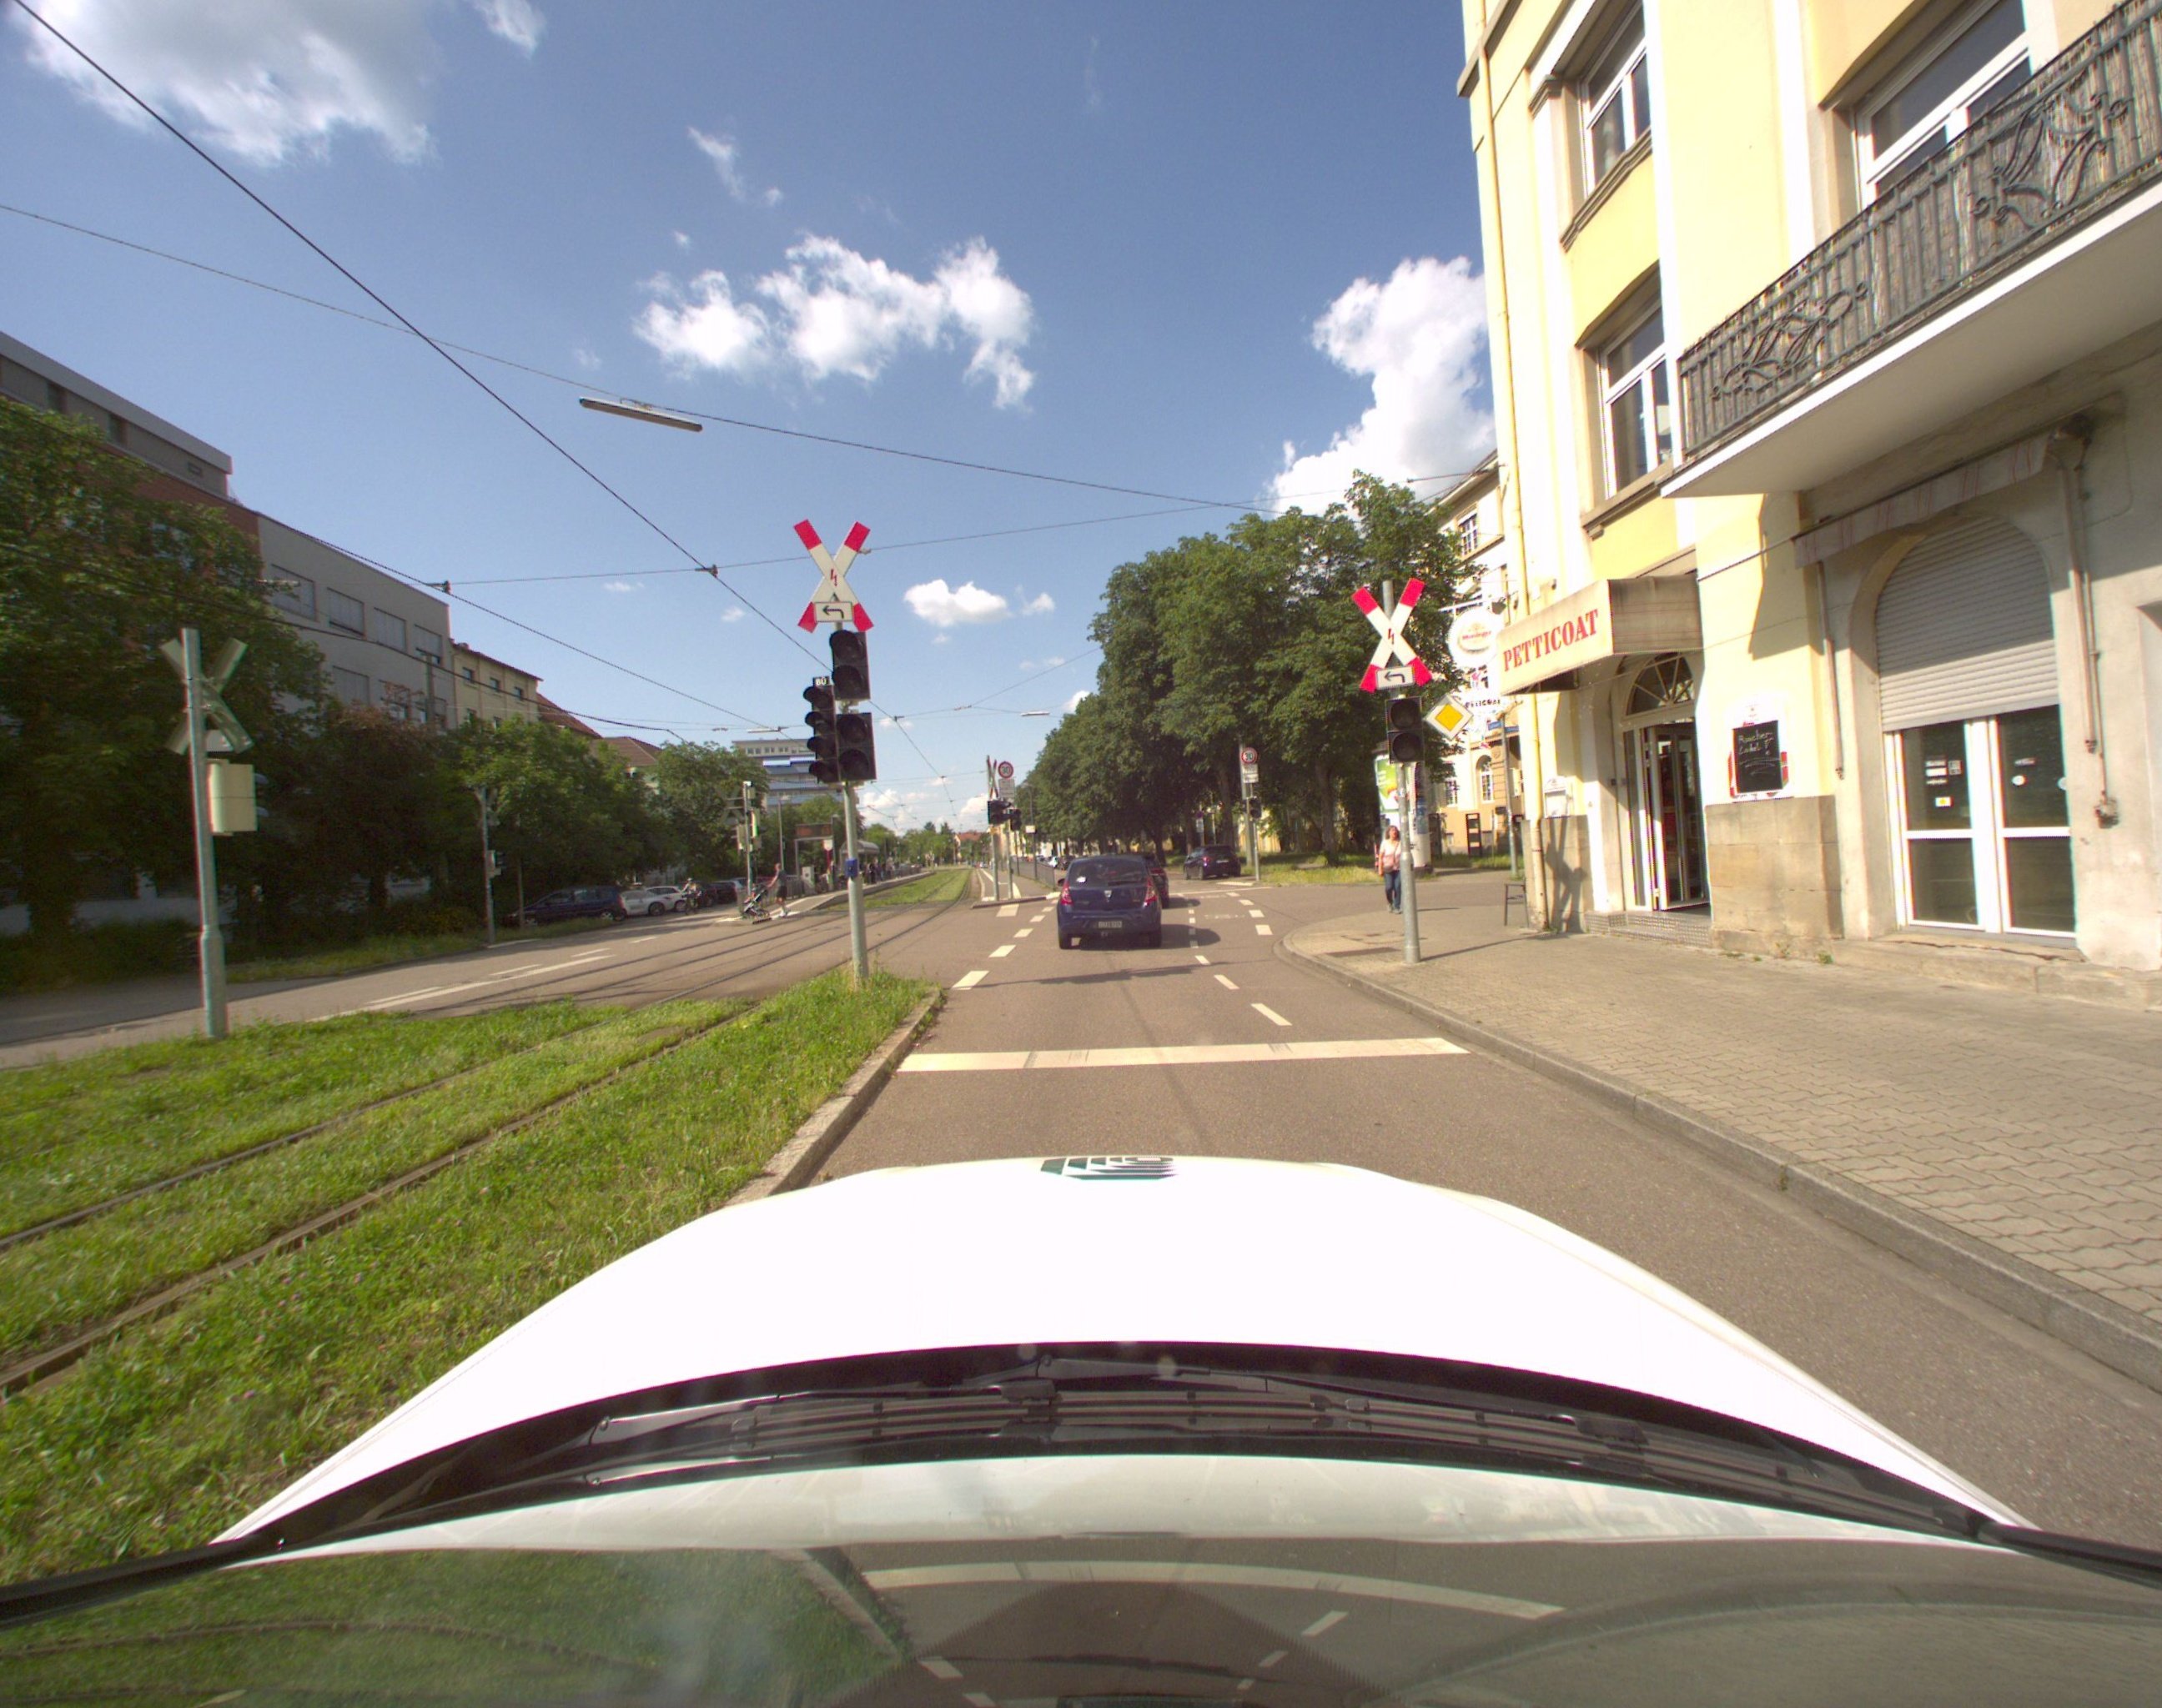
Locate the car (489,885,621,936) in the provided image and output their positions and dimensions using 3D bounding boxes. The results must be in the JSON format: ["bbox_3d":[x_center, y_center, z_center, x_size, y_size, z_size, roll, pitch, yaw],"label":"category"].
[{"bbox_3d":[-21.358,2.266,33.185,1.704,1.640,4.158,-4,0,44],"label":"car"}]

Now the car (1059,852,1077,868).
[{"bbox_3d":[-1.456,0.627,90.233,1.823,1.537,3.997,-5,0,-2],"label":"car"}]

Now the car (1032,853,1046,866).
[{"bbox_3d":[-6.038,0.754,117.304,1.825,1.761,3.997,-4,0,-2],"label":"car"}]

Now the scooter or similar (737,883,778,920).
[{"bbox_3d":[-10.425,1.526,26.263,0.954,1.064,0.795,-6,0,-8],"label":"scooter or similar"}]

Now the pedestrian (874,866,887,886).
[{"bbox_3d":[-14.792,1.612,60.151,0.648,1.426,0.566,-5,0,30],"label":"pedestrian"}]

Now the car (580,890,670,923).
[{"bbox_3d":[-21.724,2.501,38.891,1.525,1.236,3.410,-4,0,44],"label":"car"}]

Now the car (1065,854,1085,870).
[{"bbox_3d":[-0.637,0.802,84.545,1.856,1.445,3.997,-5,-1,-2],"label":"car"}]

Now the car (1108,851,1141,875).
[{"bbox_3d":[2.939,0.603,55.602,1.856,1.445,3.997,-6,0,-2],"label":"car"}]

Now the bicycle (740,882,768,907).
[{"bbox_3d":[-18.928,2.362,47.239,1.156,1.177,1.780,-5,4,-14],"label":"bicycle"}]

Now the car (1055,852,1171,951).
[{"bbox_3d":[0.571,0.739,14.625,1.761,1.462,3.777,-2,0,2],"label":"car"}]

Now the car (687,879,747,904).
[{"bbox_3d":[-23.881,2.440,53.537,1.437,1.309,3.268,-4,0,35],"label":"car"}]

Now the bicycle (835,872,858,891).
[{"bbox_3d":[-13.739,1.618,47.778,0.683,0.974,1.772,-6,0,3],"label":"bicycle"}]

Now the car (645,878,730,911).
[{"bbox_3d":[-22.890,2.335,47.439,1.669,1.456,4.025,-5,0,43],"label":"car"}]

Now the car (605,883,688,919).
[{"bbox_3d":[-22.350,2.389,41.924,3.409,1.505,1.525,-4,0,-45],"label":"car"}]

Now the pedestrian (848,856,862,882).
[{"bbox_3d":[-15.130,0.994,54.599,0.654,1.692,0.655,-5,0,-7],"label":"pedestrian"}]

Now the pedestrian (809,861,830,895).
[{"bbox_3d":[-13.750,1.262,42.811,0.705,1.726,0.672,-4,0,35],"label":"pedestrian"}]

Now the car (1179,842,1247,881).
[{"bbox_3d":[5.632,0.311,35.214,1.764,1.433,3.893,-5,0,-8],"label":"car"}]

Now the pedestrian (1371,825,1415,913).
[{"bbox_3d":[6.092,0.287,15.901,0.666,1.648,0.767,-5,-1,21],"label":"pedestrian"}]

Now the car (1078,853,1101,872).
[{"bbox_3d":[0.718,0.725,72.294,1.847,1.515,3.997,-4,0,-2],"label":"car"}]

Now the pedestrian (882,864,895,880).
[{"bbox_3d":[-18.771,1.739,79.341,1.033,1.437,0.698,-6,1,-22],"label":"pedestrian"}]

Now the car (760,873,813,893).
[{"bbox_3d":[-26.154,2.551,72.358,1.694,1.367,4.026,-5,0,42],"label":"car"}]

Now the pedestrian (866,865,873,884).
[{"bbox_3d":[-17.160,1.649,66.060,0.489,1.452,0.461,-5,0,-17],"label":"pedestrian"}]

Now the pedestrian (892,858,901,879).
[{"bbox_3d":[-17.822,1.422,78.577,0.661,2.013,0.800,-4,0,-12],"label":"pedestrian"}]

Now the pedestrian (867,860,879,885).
[{"bbox_3d":[-15.218,1.379,59.616,0.602,1.766,0.639,-4,0,2],"label":"pedestrian"}]

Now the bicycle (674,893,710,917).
[{"bbox_3d":[-18.203,2.378,38.188,0.679,0.971,2.176,-5,0,-3],"label":"bicycle"}]

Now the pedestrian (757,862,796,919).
[{"bbox_3d":[-9.917,1.169,26.580,0.870,1.775,1.001,-4,0,-8],"label":"pedestrian"}]

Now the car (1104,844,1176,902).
[{"bbox_3d":[1.519,0.452,22.091,1.694,1.368,3.515,-2,1,1],"label":"car"}]

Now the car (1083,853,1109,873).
[{"bbox_3d":[1.226,0.727,67.572,1.856,1.445,3.997,-6,0,-2],"label":"car"}]

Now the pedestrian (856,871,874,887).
[{"bbox_3d":[-14.843,1.718,55.977,0.923,0.989,0.796,-5,-2,-5],"label":"pedestrian"}]

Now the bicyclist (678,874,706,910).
[{"bbox_3d":[-18.262,1.792,38.244,0.783,1.581,0.862,-5,0,-4],"label":"bicyclist"}]

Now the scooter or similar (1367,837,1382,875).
[{"bbox_3d":[9.677,0.060,26.866,0.303,1.189,1.167,-4,0,16],"label":"scooter or similar"}]

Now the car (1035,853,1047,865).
[{"bbox_3d":[-6.026,0.749,123.425,1.664,1.771,3.995,-4,0,-3],"label":"car"}]

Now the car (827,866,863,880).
[{"bbox_3d":[-29.706,2.439,102.519,4.022,1.447,1.707,-4,0,-42],"label":"car"}]

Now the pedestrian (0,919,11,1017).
[{"bbox_3d":[-18.776,1.971,13.668,0.555,1.657,0.747,-4,-1,1],"label":"pedestrian"}]

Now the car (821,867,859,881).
[{"bbox_3d":[-28.825,2.414,97.426,1.618,1.385,4.026,-4,0,38],"label":"car"}]

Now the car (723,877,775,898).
[{"bbox_3d":[-25.365,2.580,62.282,1.437,1.309,3.268,-4,0,37],"label":"car"}]

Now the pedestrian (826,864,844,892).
[{"bbox_3d":[-14.470,1.388,47.917,0.661,1.569,0.686,-5,0,1],"label":"pedestrian"}]

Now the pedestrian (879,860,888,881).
[{"bbox_3d":[-16.138,1.358,66.538,0.489,1.712,0.461,-5,0,-17],"label":"pedestrian"}]

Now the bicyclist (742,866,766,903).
[{"bbox_3d":[-18.964,1.747,47.241,0.949,2.013,1.568,-4,0,-14],"label":"bicyclist"}]

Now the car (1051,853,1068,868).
[{"bbox_3d":[-2.598,0.789,98.513,1.616,1.750,3.991,-4,0,-6],"label":"car"}]

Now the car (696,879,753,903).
[{"bbox_3d":[-24.550,2.528,56.126,1.437,1.309,3.268,-4,0,37],"label":"car"}]

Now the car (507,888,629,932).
[{"bbox_3d":[-22.278,2.395,35.464,1.704,1.499,4.158,-4,0,44],"label":"car"}]

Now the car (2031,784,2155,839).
[{"bbox_3d":[30.611,-1.275,24.737,1.367,1.456,3.288,-4,0,34],"label":"car"}]
